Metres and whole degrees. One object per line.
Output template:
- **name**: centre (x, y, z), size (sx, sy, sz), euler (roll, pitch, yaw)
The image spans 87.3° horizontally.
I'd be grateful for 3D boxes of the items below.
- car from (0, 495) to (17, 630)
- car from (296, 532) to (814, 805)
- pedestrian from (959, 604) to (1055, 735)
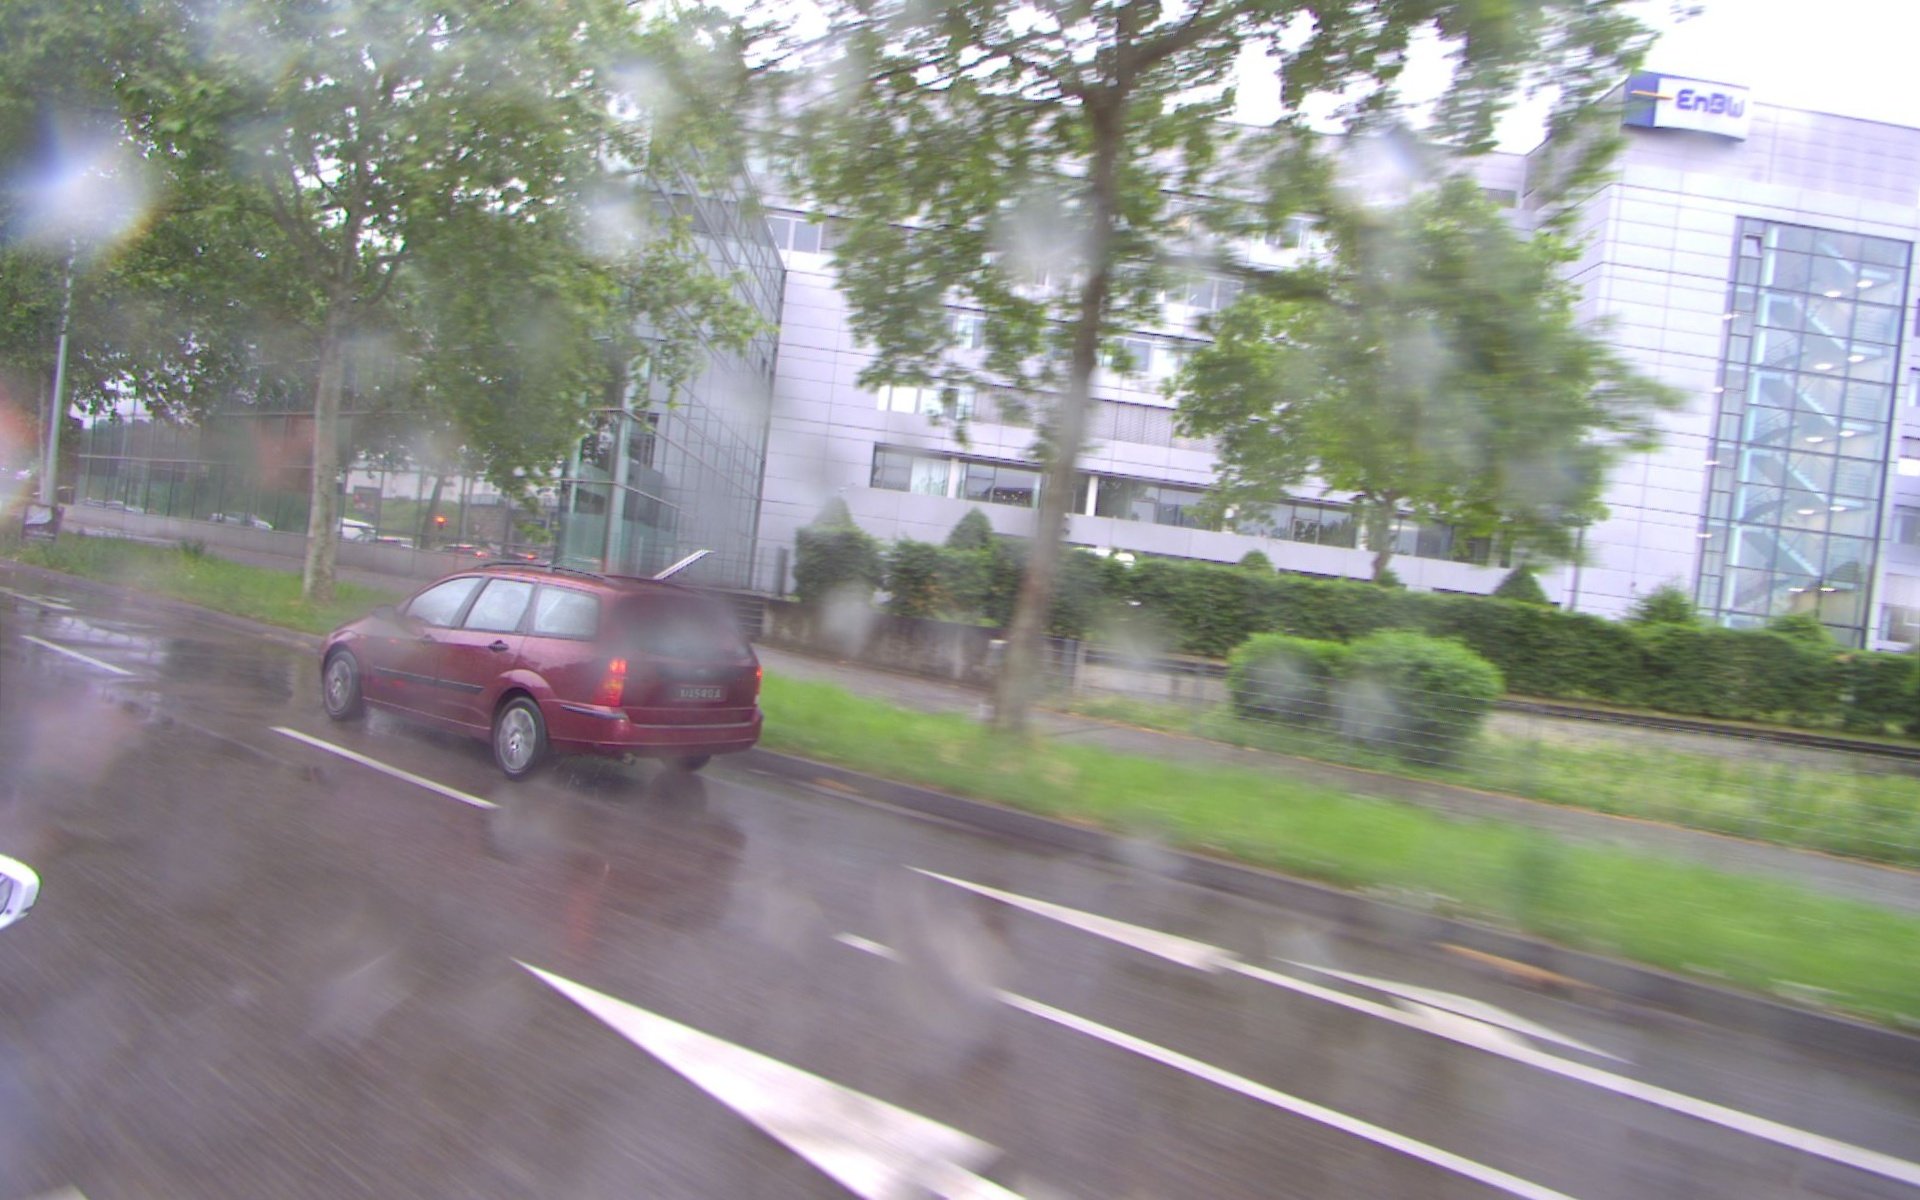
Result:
- **car**: centre (-11.576, -0.566, 10.104), size (3.933, 1.469, 1.997), euler (6, -2, 31)
- **car**: centre (-3.444, 0.460, 8.371), size (4.044, 1.554, 1.842), euler (6, -2, 32)
- **pedestrian**: centre (0.700, 1.029, 15.044), size (1.057, 1.783, 0.665), euler (7, 0, 27)
